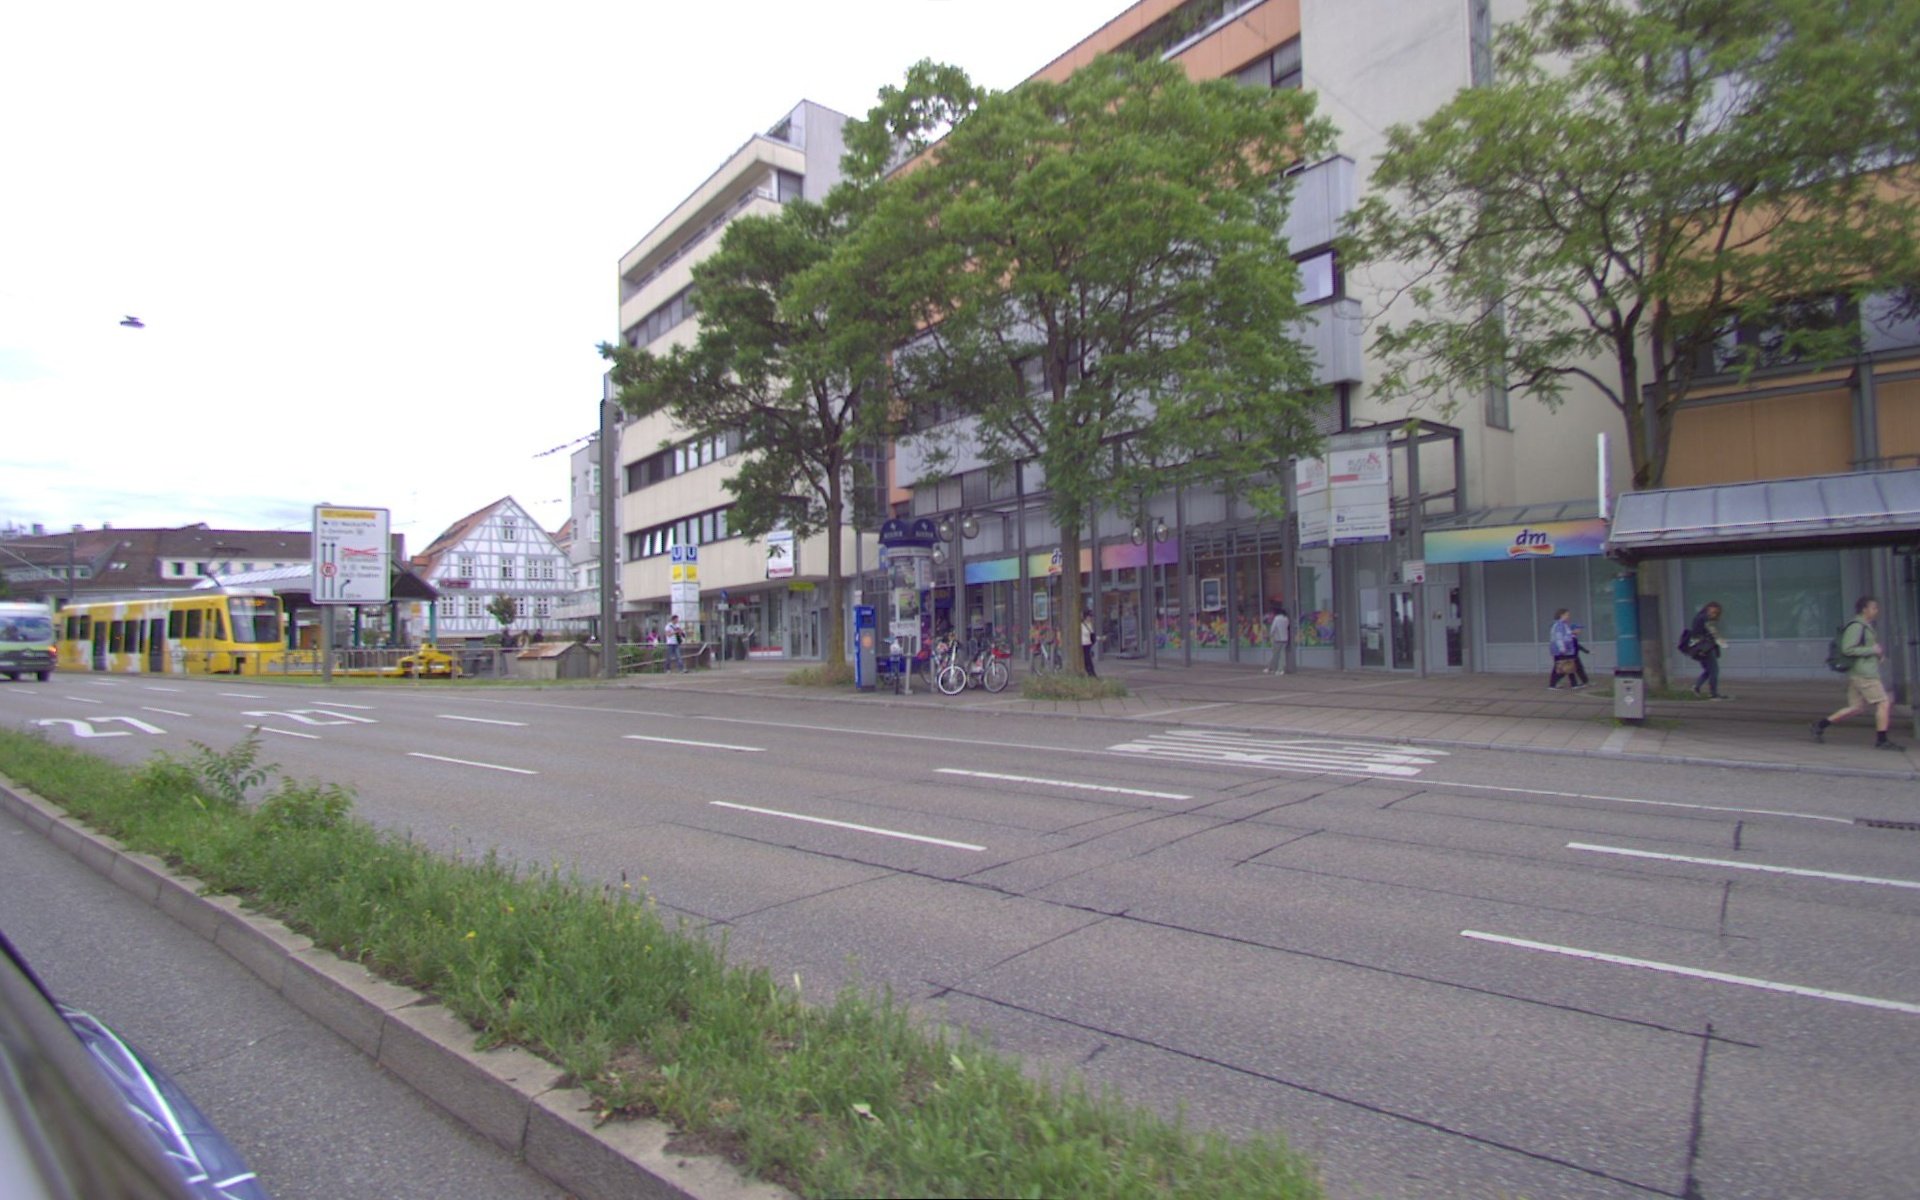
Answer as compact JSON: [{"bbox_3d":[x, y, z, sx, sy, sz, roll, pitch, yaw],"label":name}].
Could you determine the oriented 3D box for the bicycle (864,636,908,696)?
[{"bbox_3d":[-1.614,1.374,21.685,0.595,1.170,1.970,-2,-1,-13],"label":"bicycle"}]

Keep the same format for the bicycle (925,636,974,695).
[{"bbox_3d":[-0.236,1.365,21.393,0.594,1.170,1.815,0,-2,-15],"label":"bicycle"}]

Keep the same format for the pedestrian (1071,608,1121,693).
[{"bbox_3d":[2.879,1.055,21.406,0.706,1.726,0.768,-2,0,38],"label":"pedestrian"}]

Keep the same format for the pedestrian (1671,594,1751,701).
[{"bbox_3d":[12.644,0.772,17.047,0.763,1.729,0.789,-1,0,-29],"label":"pedestrian"}]

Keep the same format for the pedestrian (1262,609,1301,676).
[{"bbox_3d":[7.953,1.029,25.032,0.624,1.612,0.624,-1,-1,-15],"label":"pedestrian"}]

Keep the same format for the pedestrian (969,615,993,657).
[{"bbox_3d":[0.891,1.502,42.656,0.705,1.729,0.697,-2,0,36],"label":"pedestrian"}]

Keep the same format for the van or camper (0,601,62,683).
[{"bbox_3d":[-32.963,1.454,34.525,6.101,2.618,2.014,-2,-4,35],"label":"van or camper"}]

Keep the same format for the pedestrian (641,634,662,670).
[{"bbox_3d":[-14.782,2.504,48.508,0.627,1.713,0.685,-2,-3,34],"label":"pedestrian"}]

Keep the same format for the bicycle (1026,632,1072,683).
[{"bbox_3d":[2.092,1.353,24.113,0.664,1.170,2.021,0,-2,-7],"label":"bicycle"}]

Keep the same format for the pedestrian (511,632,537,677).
[{"bbox_3d":[-15.653,1.962,36.348,0.619,1.586,0.594,-2,-3,34],"label":"pedestrian"}]

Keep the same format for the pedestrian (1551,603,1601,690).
[{"bbox_3d":[11.757,0.873,19.321,0.706,1.595,0.660,-2,0,38],"label":"pedestrian"}]

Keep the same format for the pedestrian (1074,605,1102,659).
[{"bbox_3d":[4.139,1.032,32.780,0.667,1.713,0.644,-2,-3,36],"label":"pedestrian"}]

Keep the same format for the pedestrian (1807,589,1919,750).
[{"bbox_3d":[10.920,0.796,12.077,1.213,1.836,0.696,-1,0,41],"label":"pedestrian"}]

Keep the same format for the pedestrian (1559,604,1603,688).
[{"bbox_3d":[12.206,0.887,19.891,0.622,1.612,0.626,-2,-1,41],"label":"pedestrian"}]

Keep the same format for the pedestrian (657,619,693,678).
[{"bbox_3d":[-9.293,1.567,33.003,0.872,1.892,0.738,-2,-3,36],"label":"pedestrian"}]

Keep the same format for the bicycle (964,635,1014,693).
[{"bbox_3d":[0.597,1.344,21.410,0.594,1.170,1.694,0,-2,-15],"label":"bicycle"}]

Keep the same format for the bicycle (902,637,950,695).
[{"bbox_3d":[-0.748,1.379,21.580,0.594,1.170,1.970,0,-2,-14],"label":"bicycle"}]

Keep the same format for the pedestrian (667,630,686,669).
[{"bbox_3d":[-12.395,2.169,44.268,0.627,1.713,0.544,-2,-3,35],"label":"pedestrian"}]

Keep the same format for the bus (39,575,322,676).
[{"bbox_3d":[-35.772,1.312,45.820,19.280,3.889,3.846,-2,-3,33],"label":"bus"}]

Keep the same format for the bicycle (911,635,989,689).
[{"bbox_3d":[-0.242,1.372,22.617,0.595,1.170,1.967,2,-3,-42],"label":"bicycle"}]

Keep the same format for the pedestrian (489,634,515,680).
[{"bbox_3d":[-16.096,2.006,35.599,0.619,1.586,0.594,-2,-3,34],"label":"pedestrian"}]

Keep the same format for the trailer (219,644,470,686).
[{"bbox_3d":[-22.632,2.300,36.793,12.088,1.343,2.818,-2,-3,33],"label":"trailer"}]
